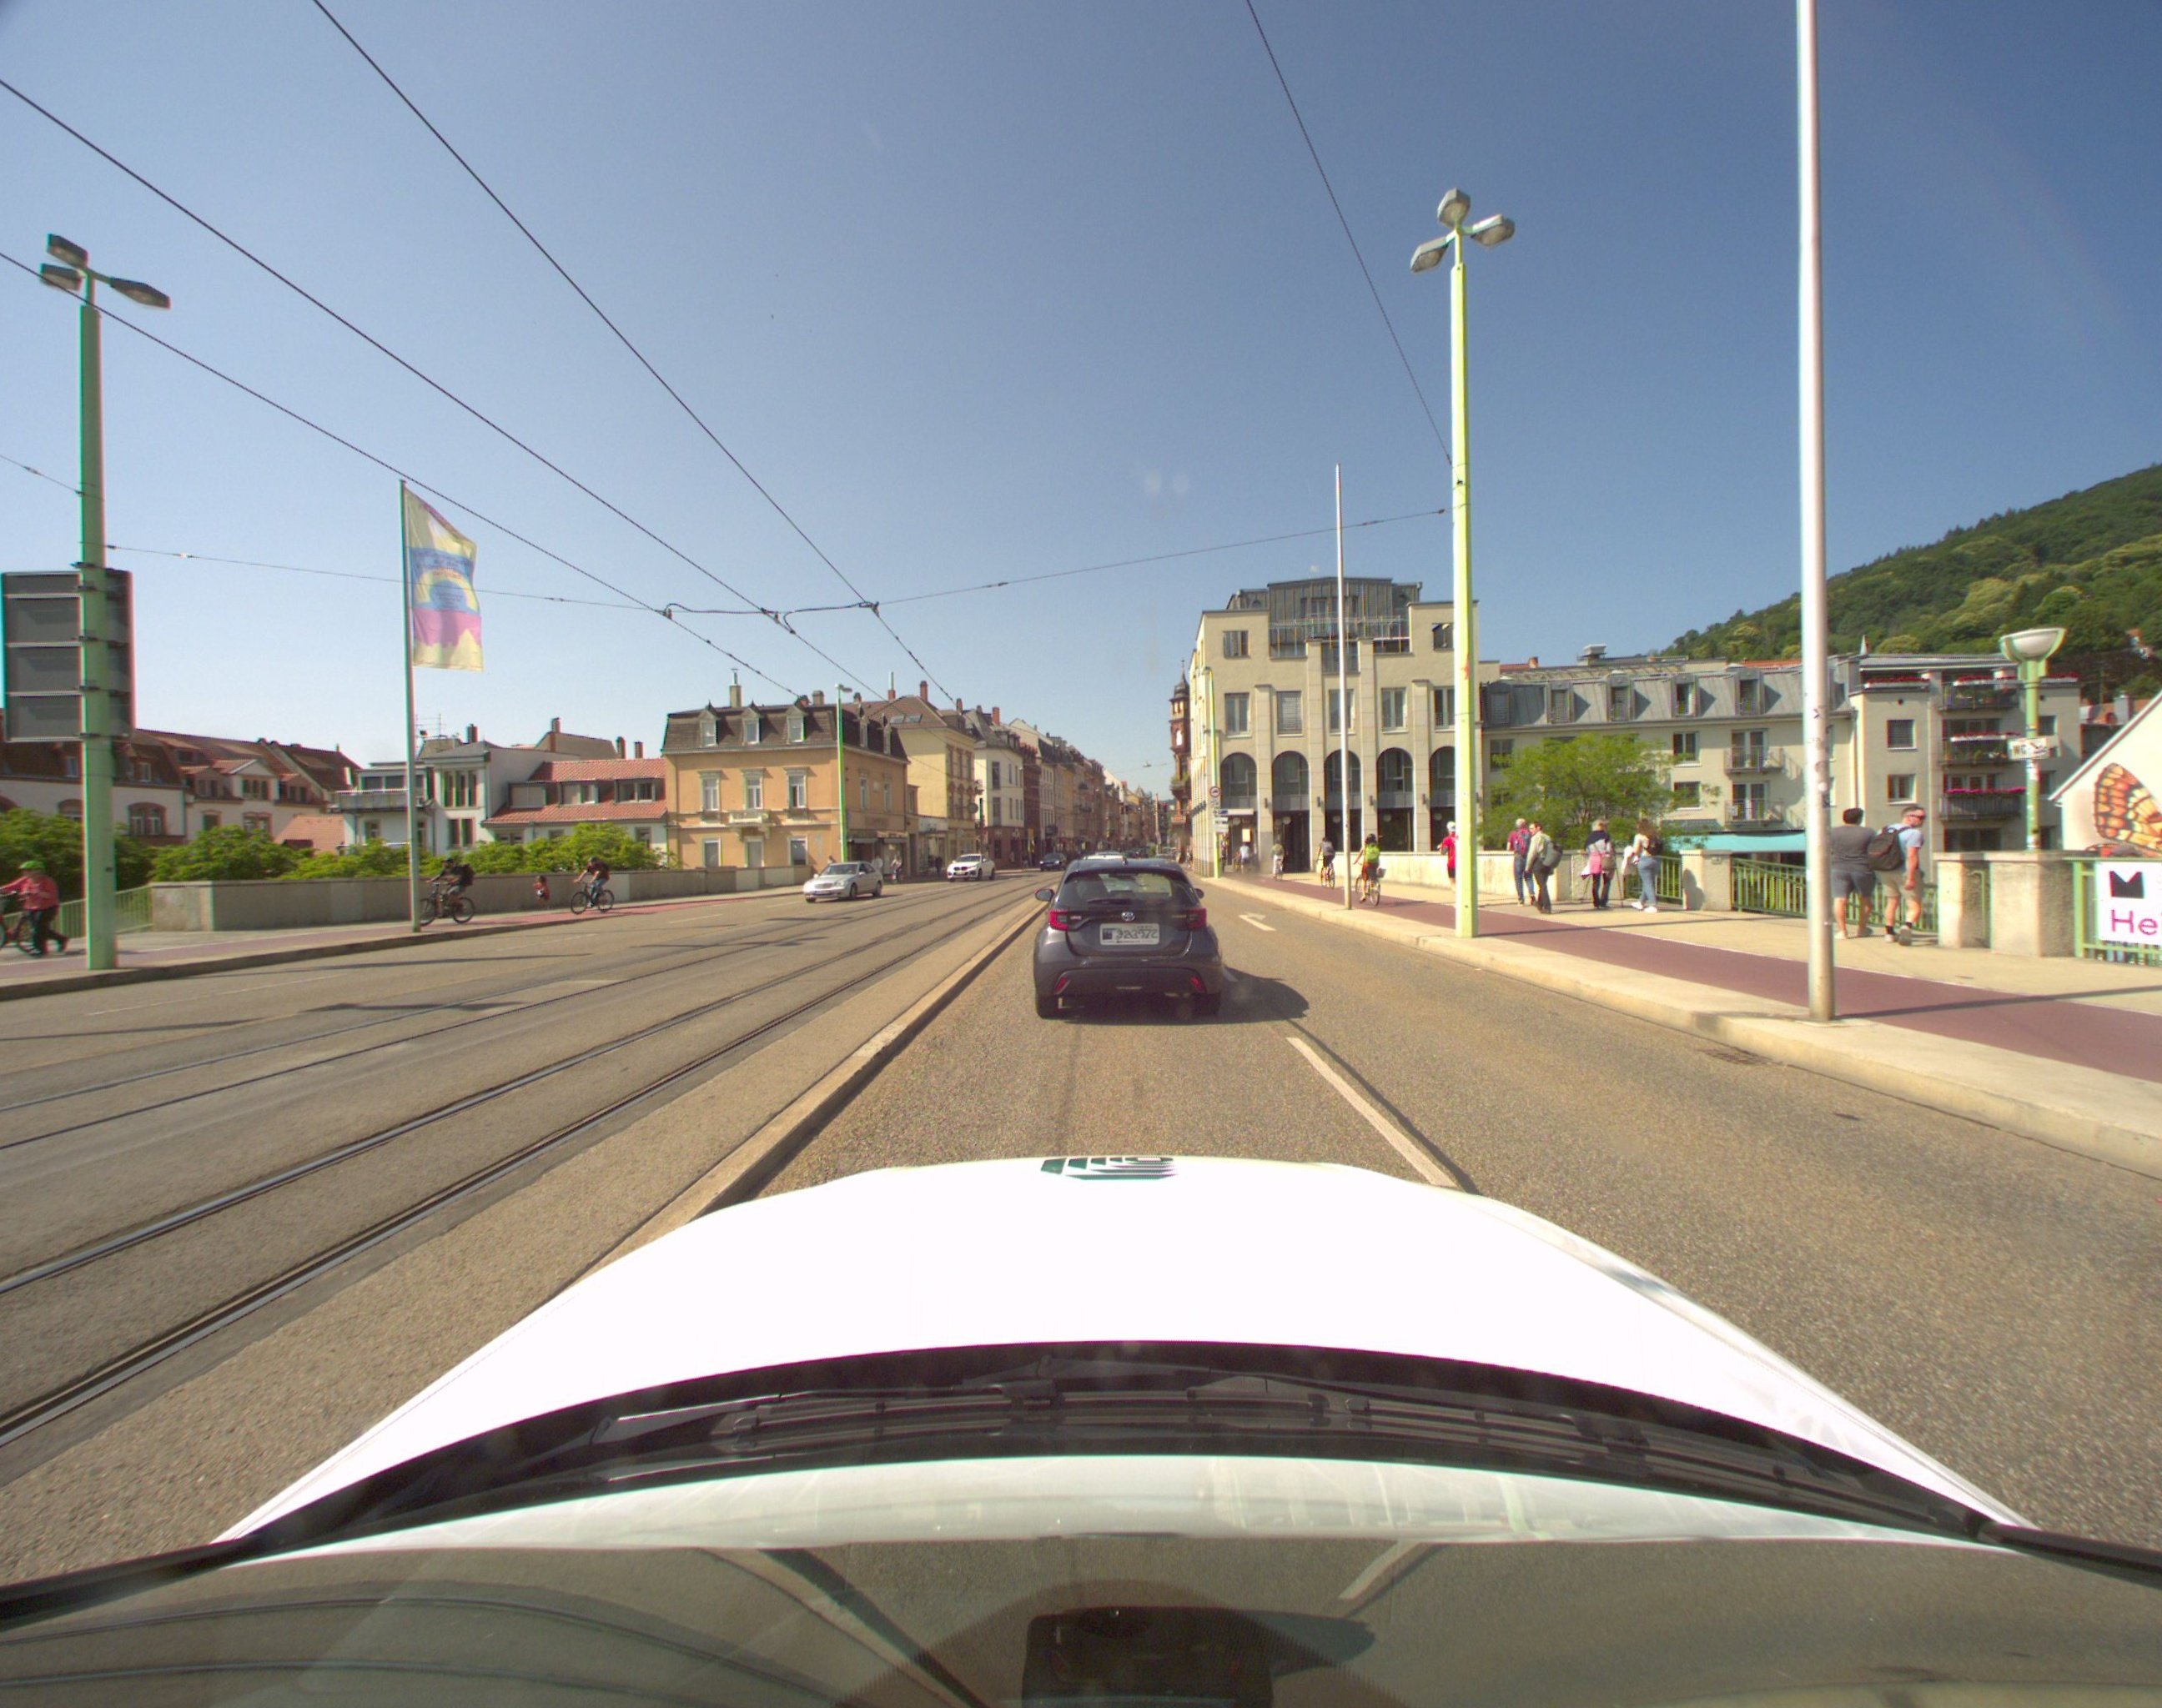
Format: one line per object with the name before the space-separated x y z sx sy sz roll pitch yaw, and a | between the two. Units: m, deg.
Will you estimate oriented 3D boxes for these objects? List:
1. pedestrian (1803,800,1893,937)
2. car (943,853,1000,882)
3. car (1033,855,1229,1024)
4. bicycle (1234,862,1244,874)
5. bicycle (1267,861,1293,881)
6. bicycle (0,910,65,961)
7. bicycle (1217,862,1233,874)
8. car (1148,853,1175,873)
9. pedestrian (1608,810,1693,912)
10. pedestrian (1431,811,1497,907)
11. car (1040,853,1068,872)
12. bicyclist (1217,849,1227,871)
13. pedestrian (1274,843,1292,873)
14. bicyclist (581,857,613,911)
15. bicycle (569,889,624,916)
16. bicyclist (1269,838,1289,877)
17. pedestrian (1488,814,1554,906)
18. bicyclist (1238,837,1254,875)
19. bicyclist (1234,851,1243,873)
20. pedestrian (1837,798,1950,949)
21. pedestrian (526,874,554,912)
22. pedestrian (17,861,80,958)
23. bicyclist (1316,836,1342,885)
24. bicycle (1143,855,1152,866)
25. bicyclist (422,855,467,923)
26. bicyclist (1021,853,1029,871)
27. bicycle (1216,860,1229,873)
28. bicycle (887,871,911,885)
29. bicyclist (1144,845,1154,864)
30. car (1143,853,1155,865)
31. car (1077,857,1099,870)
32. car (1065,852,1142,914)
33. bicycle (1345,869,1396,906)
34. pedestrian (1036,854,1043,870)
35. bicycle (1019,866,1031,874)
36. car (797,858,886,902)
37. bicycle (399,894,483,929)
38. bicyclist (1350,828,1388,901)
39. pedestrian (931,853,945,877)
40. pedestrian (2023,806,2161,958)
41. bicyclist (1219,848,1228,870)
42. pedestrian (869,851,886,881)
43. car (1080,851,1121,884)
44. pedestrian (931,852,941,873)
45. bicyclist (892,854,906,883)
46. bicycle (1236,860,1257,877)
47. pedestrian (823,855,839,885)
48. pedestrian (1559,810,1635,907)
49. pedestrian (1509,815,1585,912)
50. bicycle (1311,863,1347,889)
pedestrian | 10.178 0.177 10.842 0.732 1.718 1.022 -3 0 39
car | -6.477 0.751 48.715 1.981 1.586 4.665 -2 0 10
car | 0.485 0.748 8.959 1.713 1.473 3.659 0 0 1
bicycle | 10.104 0.902 52.095 0.415 0.765 0.962 -3 0 2
bicycle | 8.389 0.699 34.463 0.592 0.765 1.866 -2 0 -1
bicycle | -18.408 1.402 13.824 0.623 0.716 1.919 0 1 -24
bicycle | 9.865 0.931 55.919 0.950 0.765 0.420 -3 0 24
car | 6.131 0.666 62.400 1.699 1.466 4.327 0 0 1
pedestrian | 10.287 0.121 14.741 0.737 1.746 1.015 -3 0 -1
pedestrian | 8.029 0.104 17.126 0.808 1.924 1.128 -2 0 1
car | -2.342 0.727 72.328 1.784 1.545 3.930 -2 0 8
bicyclist | 9.139 0.411 52.829 0.532 1.383 0.669 -3 0 1
pedestrian | 11.568 0.226 46.609 0.736 1.615 1.016 3 0 1
bicyclist | -15.061 0.923 25.359 0.625 1.650 0.622 0 1 2
bicycle | -15.064 1.490 25.361 0.618 0.716 1.732 0 1 2
bicyclist | 8.372 0.147 34.462 0.585 1.650 0.702 -2 0 -1
pedestrian | 9.078 0.123 16.844 0.736 1.802 1.016 -3 0 1
bicyclist | 8.085 0.115 39.905 0.585 1.820 0.702 -2 0 -1
bicyclist | 10.086 0.490 52.154 0.420 1.383 0.444 -3 0 1
pedestrian | 9.830 0.212 9.852 1.020 1.718 0.734 -2 0 -33
pedestrian | -17.172 1.237 25.842 0.409 1.146 0.546 3 0 13
pedestrian | -17.988 0.946 14.204 0.414 1.632 0.623 1 0 -24
bicyclist | 8.132 0.208 26.754 0.585 1.559 0.702 -2 0 -1
bicycle | 9.124 0.835 111.530 1.107 1.420 3.011 3 0 5
bicyclist | -15.844 0.867 20.279 0.625 1.650 0.622 0 1 2
bicyclist | -5.411 0.765 78.633 0.701 1.650 0.623 0 1 10
bicycle | 9.162 0.795 52.767 0.512 0.765 1.661 -3 0 2
bicycle | -10.747 1.430 48.153 0.616 0.716 2.051 0 1 11
bicyclist | 9.276 0.044 111.348 1.222 2.528 1.107 3 0 6
car | 11.895 0.873 142.050 1.983 2.013 4.007 3 0 6
car | 0.819 1.125 94.398 1.982 1.432 4.010 0 0 8
car | 0.606 0.720 22.187 1.890 1.530 4.001 0 0 1
bicycle | 6.819 0.768 19.274 0.591 0.765 1.867 -2 0 2
pedestrian | -4.693 0.931 92.048 0.733 1.766 0.787 -1 1 2
bicycle | -5.406 1.569 78.709 0.616 0.716 2.051 0 1 11
car | -8.760 0.920 30.199 1.723 1.460 4.379 -1 0 4
bicycle | -15.847 1.412 20.222 0.618 0.716 1.772 0 1 2
bicyclist | 6.792 0.243 19.201 0.602 1.650 0.702 -2 0 2
pedestrian | -10.498 0.802 59.894 0.757 1.654 0.713 3 0 10
pedestrian | 13.019 0.315 10.224 1.201 1.777 0.979 -3 0 -4
bicyclist | 9.809 0.321 55.944 0.438 1.466 0.488 -3 0 24
pedestrian | -12.357 0.745 49.449 0.733 1.766 0.787 3 0 2
car | 0.951 0.620 39.411 1.890 1.530 4.001 0 0 1
pedestrian | -11.601 0.702 65.120 0.646 1.602 0.566 3 2 2
bicyclist | -10.746 0.858 48.132 0.623 1.650 0.623 0 1 10
bicycle | 8.101 0.719 39.915 0.592 0.765 1.866 -2 0 -1
pedestrian | -14.060 0.903 45.735 0.646 1.602 0.566 3 2 2
pedestrian | 9.966 0.079 15.763 0.737 1.777 1.015 -3 0 -2
pedestrian | 8.720 0.177 15.294 0.752 1.718 1.073 -3 0 1
bicycle | 8.150 0.714 26.818 0.592 0.765 1.830 -2 0 -1
